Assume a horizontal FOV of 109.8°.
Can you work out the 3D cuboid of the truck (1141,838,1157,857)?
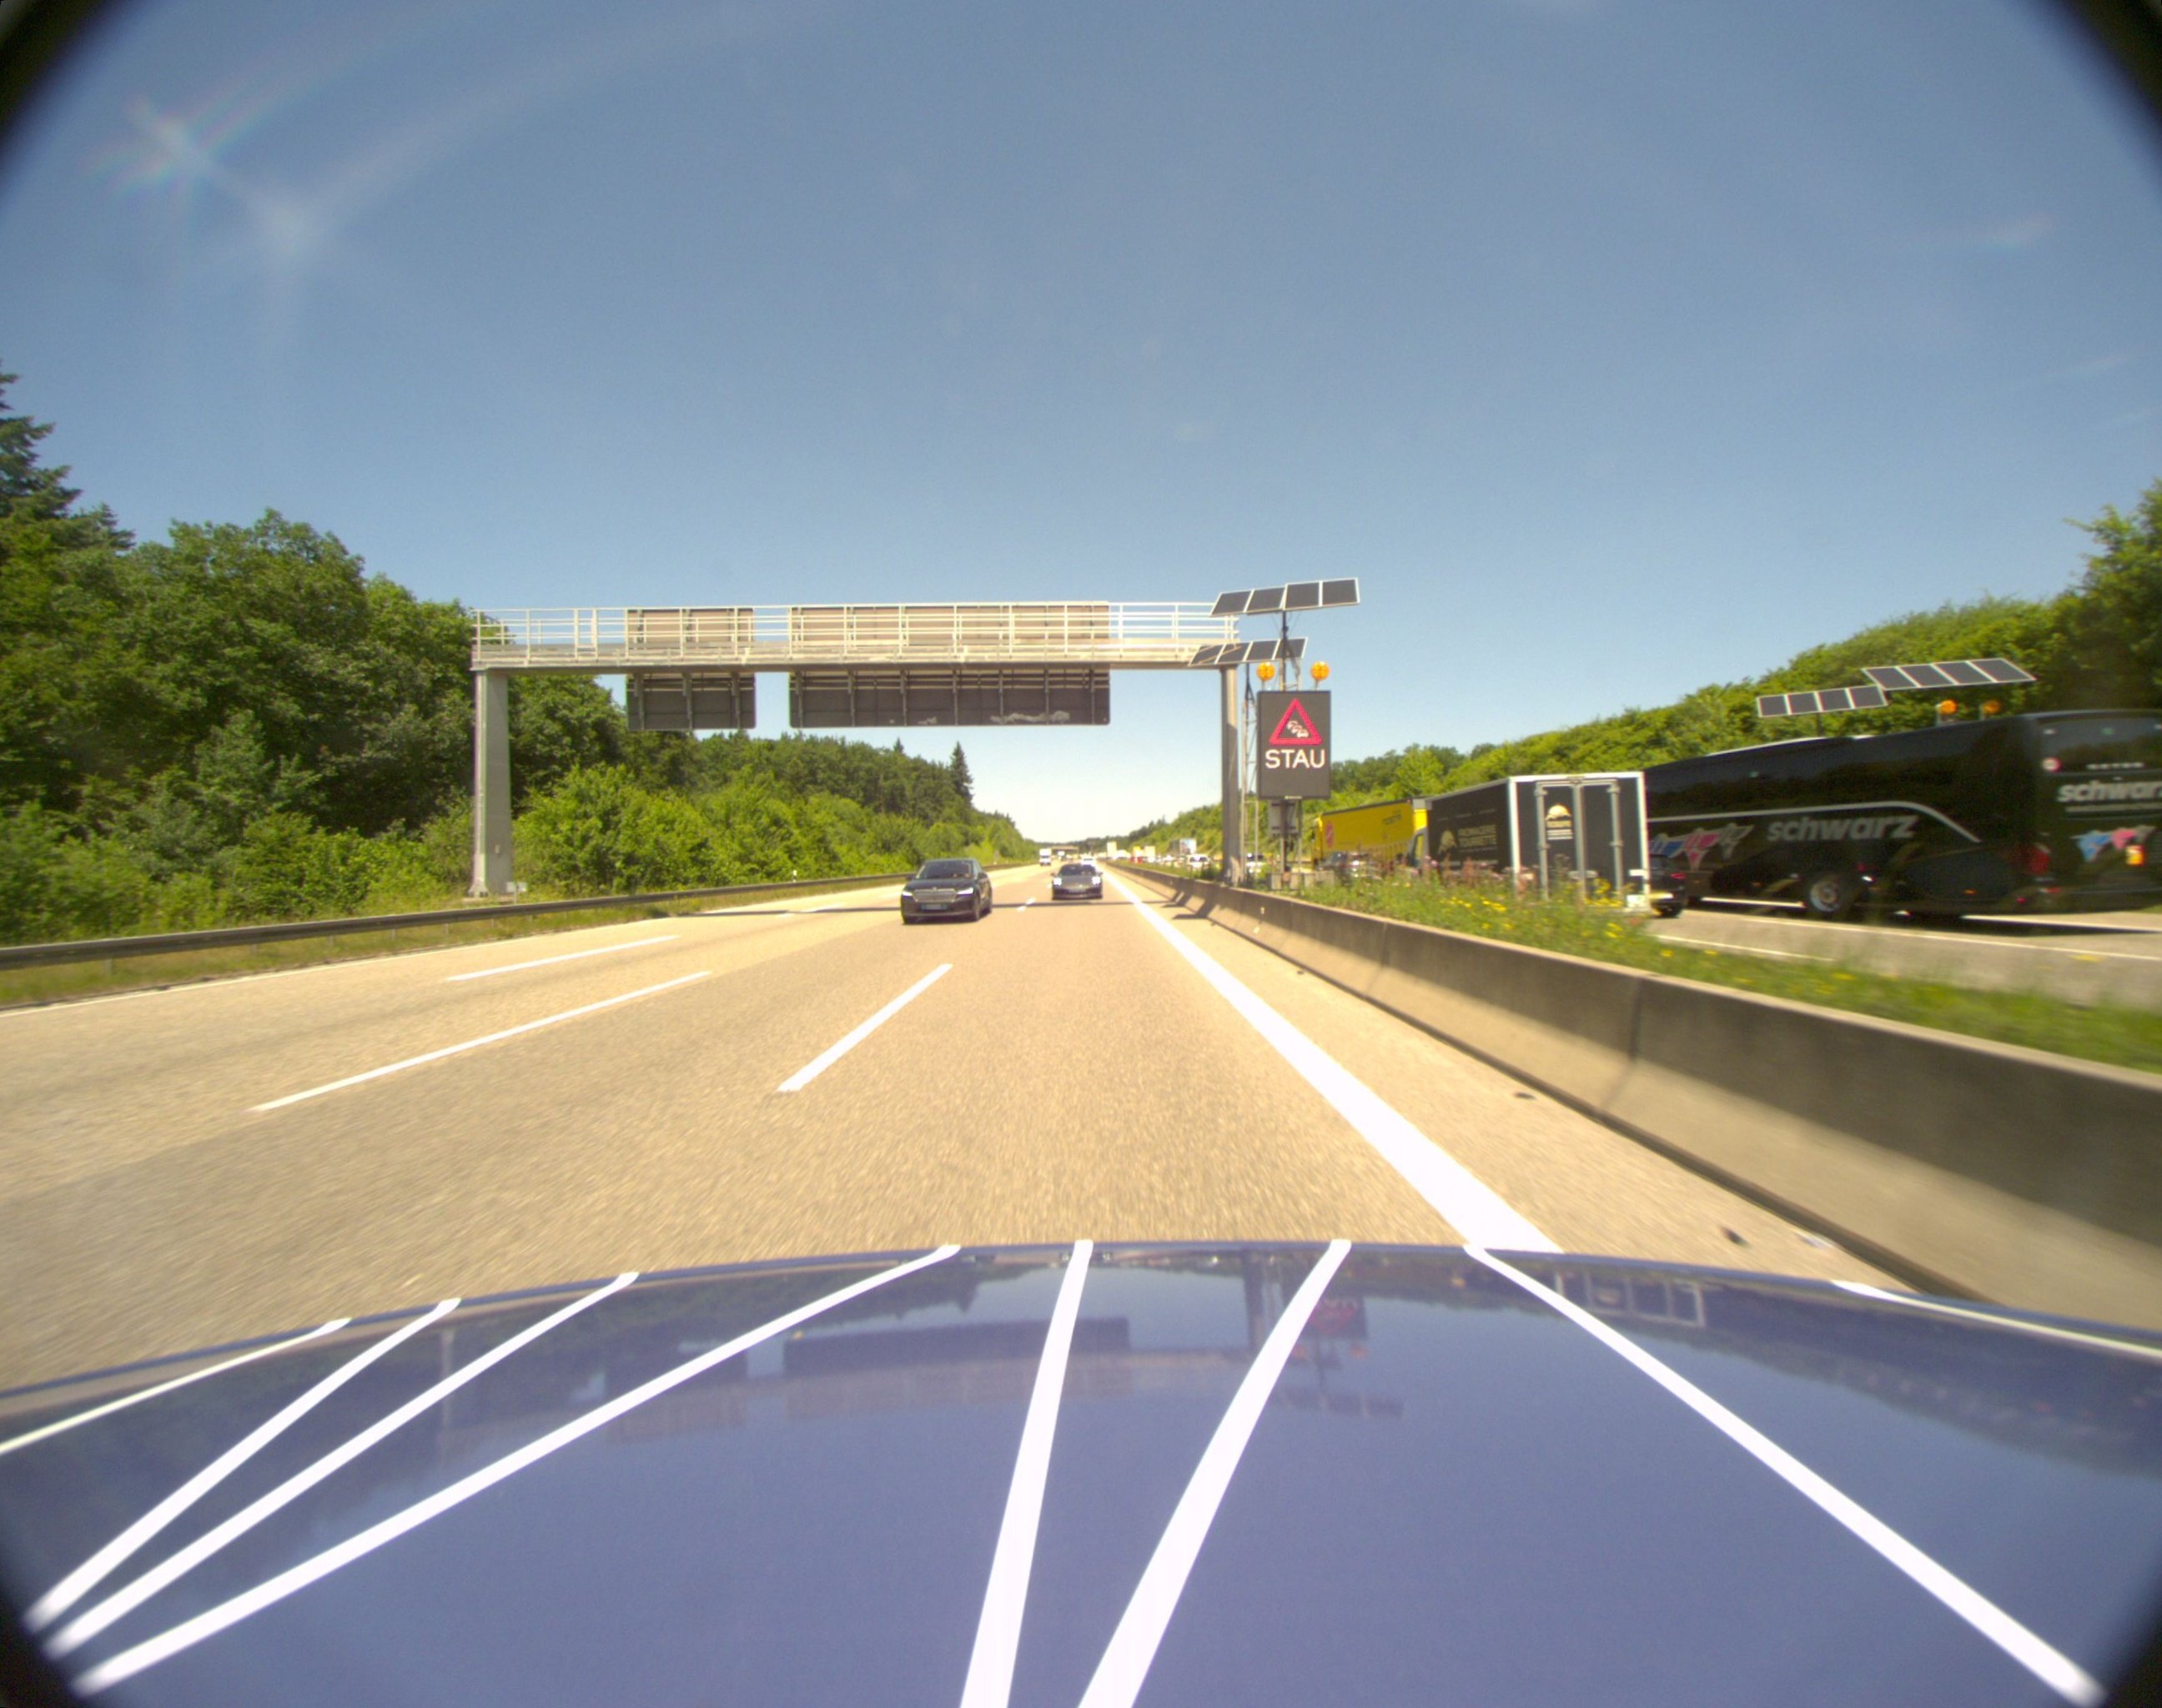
[{"bbox_3d":[16.946,-1.694,190.257,3.002,4.517,13.923,-2,1,1],"label":"truck"}]

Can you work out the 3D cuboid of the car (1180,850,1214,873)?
[{"bbox_3d":[8.443,0.544,55.692,1.816,1.504,5.029,-2,1,1],"label":"car"}]

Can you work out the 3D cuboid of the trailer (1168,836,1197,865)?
[{"bbox_3d":[16.110,-0.610,121.637,2.850,4.237,12.785,-2,1,1],"label":"trailer"}]

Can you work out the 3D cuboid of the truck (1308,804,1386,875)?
[{"bbox_3d":[16.266,-0.876,46.930,2.608,4.041,6.132,-2,1,1],"label":"truck"}]

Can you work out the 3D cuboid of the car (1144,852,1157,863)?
[{"bbox_3d":[12.439,0.636,136.223,1.832,1.754,4.989,-2,1,-1],"label":"car"}]

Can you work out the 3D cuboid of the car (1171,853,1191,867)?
[{"bbox_3d":[12.337,0.698,93.869,1.816,1.619,4.908,-2,1,1],"label":"car"}]

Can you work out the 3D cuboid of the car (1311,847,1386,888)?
[{"bbox_3d":[11.809,0.544,33.880,1.780,1.603,4.558,-2,1,1],"label":"car"}]

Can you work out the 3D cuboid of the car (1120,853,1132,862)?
[{"bbox_3d":[8.924,0.720,151.093,1.832,1.754,4.989,-2,1,-1],"label":"car"}]

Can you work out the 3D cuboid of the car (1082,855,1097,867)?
[{"bbox_3d":[1.023,0.855,93.154,1.719,1.432,4.456,-1,1,-1],"label":"car"}]

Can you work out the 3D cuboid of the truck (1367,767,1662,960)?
[{"bbox_3d":[7.681,0.109,14.519,2.125,2.825,6.211,-2,1,1],"label":"truck"}]

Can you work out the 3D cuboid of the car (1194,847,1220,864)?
[{"bbox_3d":[12.832,0.114,77.656,1.816,1.619,5.381,-2,1,1],"label":"car"}]

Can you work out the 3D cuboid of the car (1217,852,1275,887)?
[{"bbox_3d":[8.054,0.699,37.532,1.816,1.504,5.029,-2,1,1],"label":"car"}]

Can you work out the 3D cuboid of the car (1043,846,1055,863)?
[{"bbox_3d":[-6.399,0.100,152.912,2.303,3.317,7.620,-2,1,-1],"label":"car"}]

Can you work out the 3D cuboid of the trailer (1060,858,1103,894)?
[{"bbox_3d":[0.050,0.912,32.364,1.689,1.399,3.046,-2,0,1],"label":"trailer"}]

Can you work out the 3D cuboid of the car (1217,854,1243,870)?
[{"bbox_3d":[15.677,0.791,80.241,1.816,1.504,4.797,-2,1,1],"label":"car"}]

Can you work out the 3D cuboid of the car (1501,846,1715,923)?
[{"bbox_3d":[11.998,0.602,17.794,1.780,1.540,4.759,-1,1,1],"label":"car"}]

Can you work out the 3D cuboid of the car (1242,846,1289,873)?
[{"bbox_3d":[12.963,0.306,53.733,1.867,1.742,5.901,-2,1,1],"label":"car"}]

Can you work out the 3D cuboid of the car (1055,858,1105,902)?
[{"bbox_3d":[0.025,0.922,29.070,1.718,1.432,4.457,-1,1,1],"label":"car"}]

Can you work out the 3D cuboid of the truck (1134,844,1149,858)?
[{"bbox_3d":[12.830,-0.607,161.644,2.575,2.828,6.751,-2,1,0],"label":"truck"}]

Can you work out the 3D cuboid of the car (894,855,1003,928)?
[{"bbox_3d":[-3.413,0.917,20.482,1.989,1.610,4.457,-1,1,2],"label":"car"}]

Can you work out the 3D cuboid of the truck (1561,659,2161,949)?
[{"bbox_3d":[15.841,-0.815,16.919,3.064,4.197,11.486,-2,1,1],"label":"truck"}]

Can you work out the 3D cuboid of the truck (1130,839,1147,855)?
[{"bbox_3d":[16.942,-2.014,225.785,3.706,4.430,16.673,-2,1,0],"label":"truck"}]

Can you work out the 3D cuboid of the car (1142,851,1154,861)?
[{"bbox_3d":[12.845,0.322,145.646,1.832,1.754,4.989,-2,1,-1],"label":"car"}]

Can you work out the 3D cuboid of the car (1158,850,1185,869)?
[{"bbox_3d":[7.959,0.434,67.123,1.816,1.504,4.817,-2,1,1],"label":"car"}]

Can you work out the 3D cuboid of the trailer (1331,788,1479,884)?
[{"bbox_3d":[16.153,-0.838,39.215,2.657,4.120,11.855,-2,1,1],"label":"trailer"}]

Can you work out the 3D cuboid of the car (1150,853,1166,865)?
[{"bbox_3d":[12.155,0.814,120.358,1.832,1.754,4.989,-2,1,-1],"label":"car"}]

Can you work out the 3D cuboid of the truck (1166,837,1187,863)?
[{"bbox_3d":[16.153,-0.656,128.689,2.826,4.179,5.628,-2,1,1],"label":"truck"}]
